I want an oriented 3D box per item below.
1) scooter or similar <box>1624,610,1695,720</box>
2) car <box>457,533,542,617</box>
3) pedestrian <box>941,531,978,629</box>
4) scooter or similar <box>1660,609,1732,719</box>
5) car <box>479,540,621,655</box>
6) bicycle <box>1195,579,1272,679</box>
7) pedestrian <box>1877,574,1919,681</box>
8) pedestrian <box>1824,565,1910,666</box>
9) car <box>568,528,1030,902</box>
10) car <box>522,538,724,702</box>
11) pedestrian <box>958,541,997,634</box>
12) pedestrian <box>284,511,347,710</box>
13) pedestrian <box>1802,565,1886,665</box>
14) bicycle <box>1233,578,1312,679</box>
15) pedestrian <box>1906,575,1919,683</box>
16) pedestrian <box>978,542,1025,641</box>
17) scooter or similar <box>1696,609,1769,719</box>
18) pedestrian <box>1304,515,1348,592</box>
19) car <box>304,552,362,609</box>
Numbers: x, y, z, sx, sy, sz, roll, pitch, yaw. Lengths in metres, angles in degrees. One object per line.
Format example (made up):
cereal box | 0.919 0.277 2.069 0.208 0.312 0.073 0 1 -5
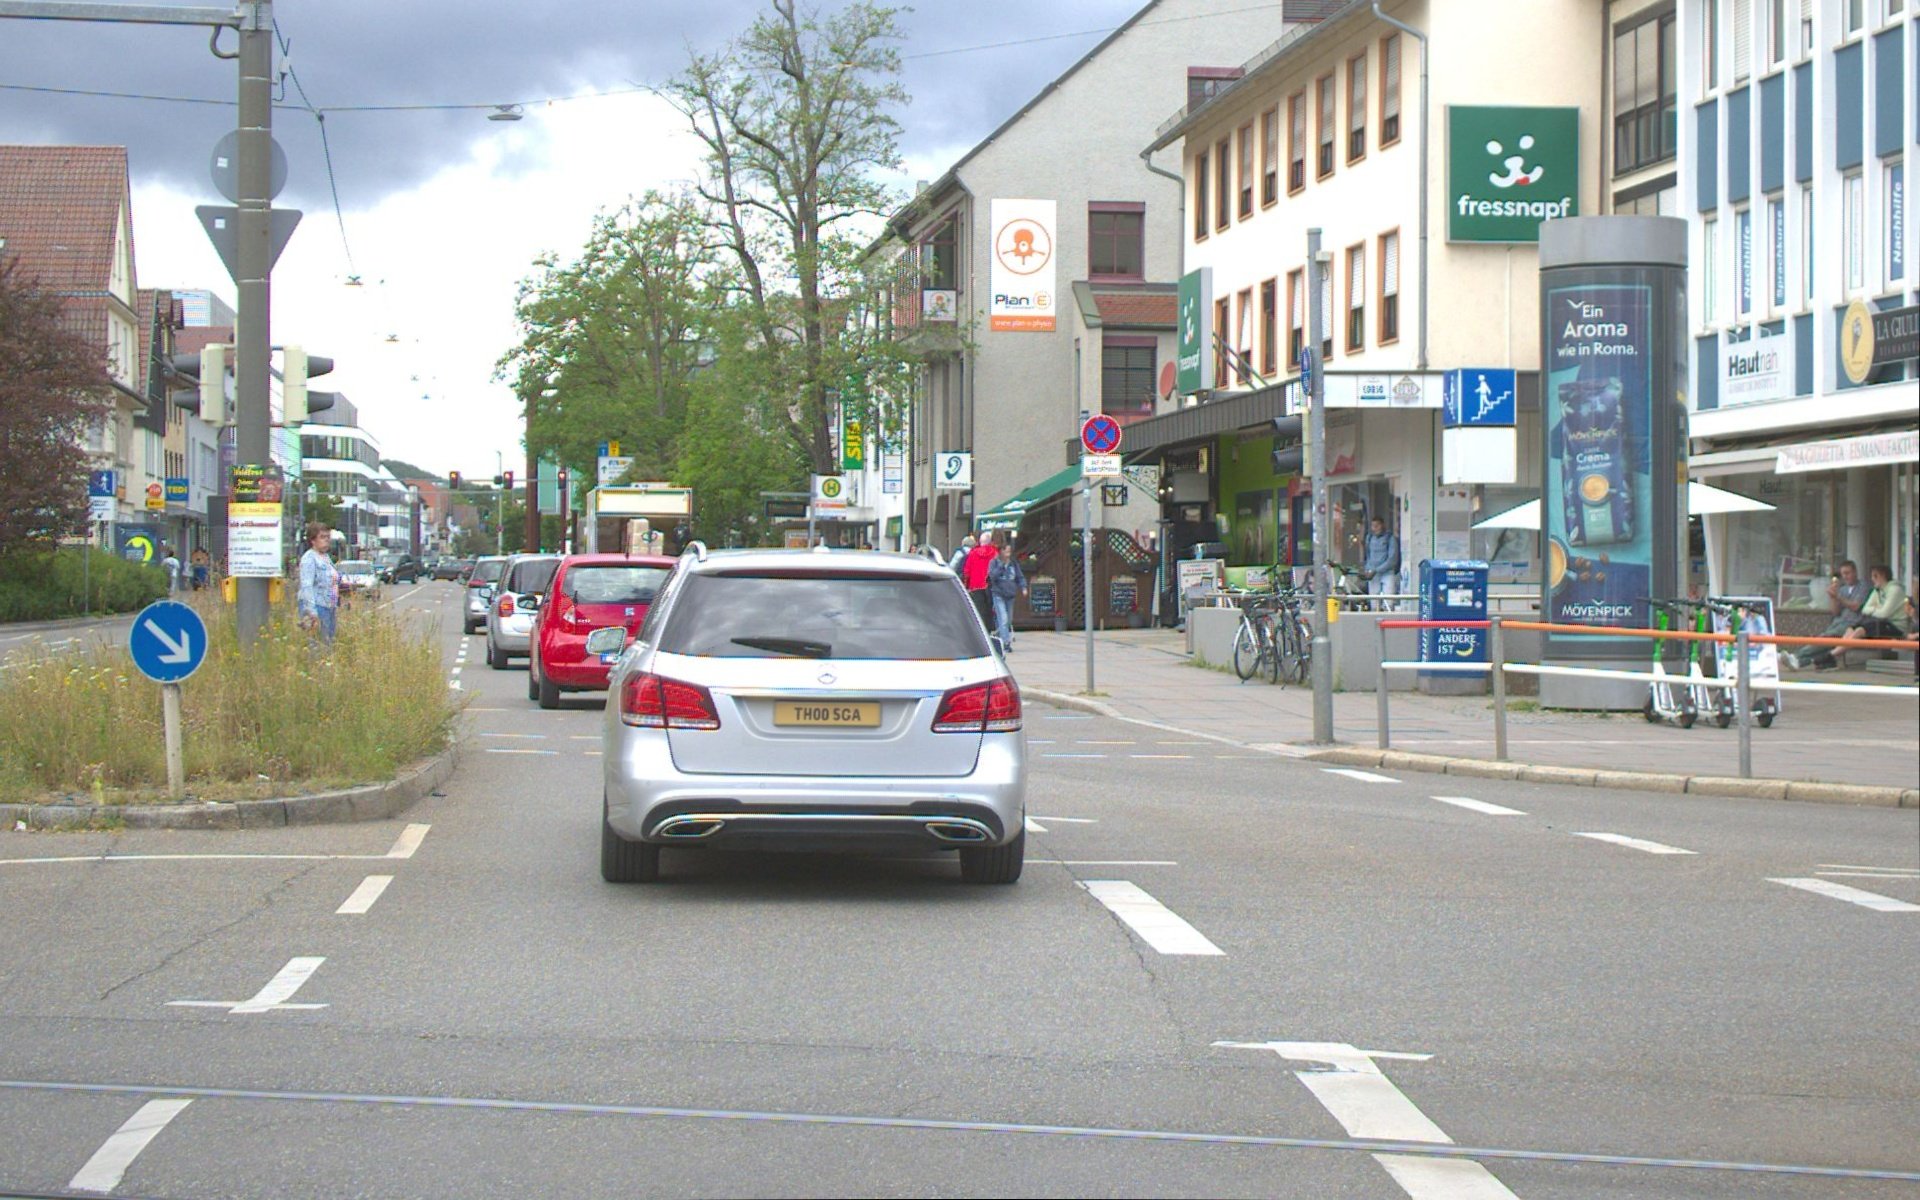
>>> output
scooter or similar | 6.553 0.598 32.213 0.271 0.998 1.029 0 1 -11
car | -9.854 -0.561 73.765 1.734 1.753 4.001 0 1 -6
pedestrian | -0.010 -0.342 58.798 0.578 1.661 0.651 1 0 -1
scooter or similar | 6.910 0.596 32.296 0.271 0.998 1.029 0 1 -11
car | -5.674 -0.067 47.205 1.734 1.503 4.001 0 1 -10
bicycle | 3.100 0.315 39.095 0.448 1.087 2.150 0 1 -7
pedestrian | 10.582 0.308 37.807 0.736 1.160 0.643 1 0 -10
pedestrian | 10.648 0.177 40.370 0.736 1.160 0.643 1 0 -10
car | -0.611 0.429 15.973 1.846 1.503 4.171 0 1 1
car | -3.335 0.155 33.479 1.734 1.503 4.001 0 1 -9
pedestrian | 0.282 -0.205 55.033 0.578 1.464 0.651 2 0 2
pedestrian | -5.767 0.091 30.776 0.533 1.757 0.580 0 1 -9
pedestrian | 10.547 0.173 41.036 0.736 1.160 0.643 1 0 -10
bicycle | 3.546 0.309 39.150 0.448 1.103 2.150 0 1 -7
pedestrian | 10.713 0.318 37.120 0.736 1.160 0.643 1 0 -10
pedestrian | 0.598 -0.126 50.127 0.578 1.430 0.651 1 0 -6
scooter or similar | 7.268 0.596 32.372 0.271 0.998 1.029 0 1 -11
pedestrian | 5.856 -0.746 55.006 0.533 1.214 0.580 1 0 -10
car | -22.903 -0.713 125.744 1.993 2.007 4.001 1 1 -9
